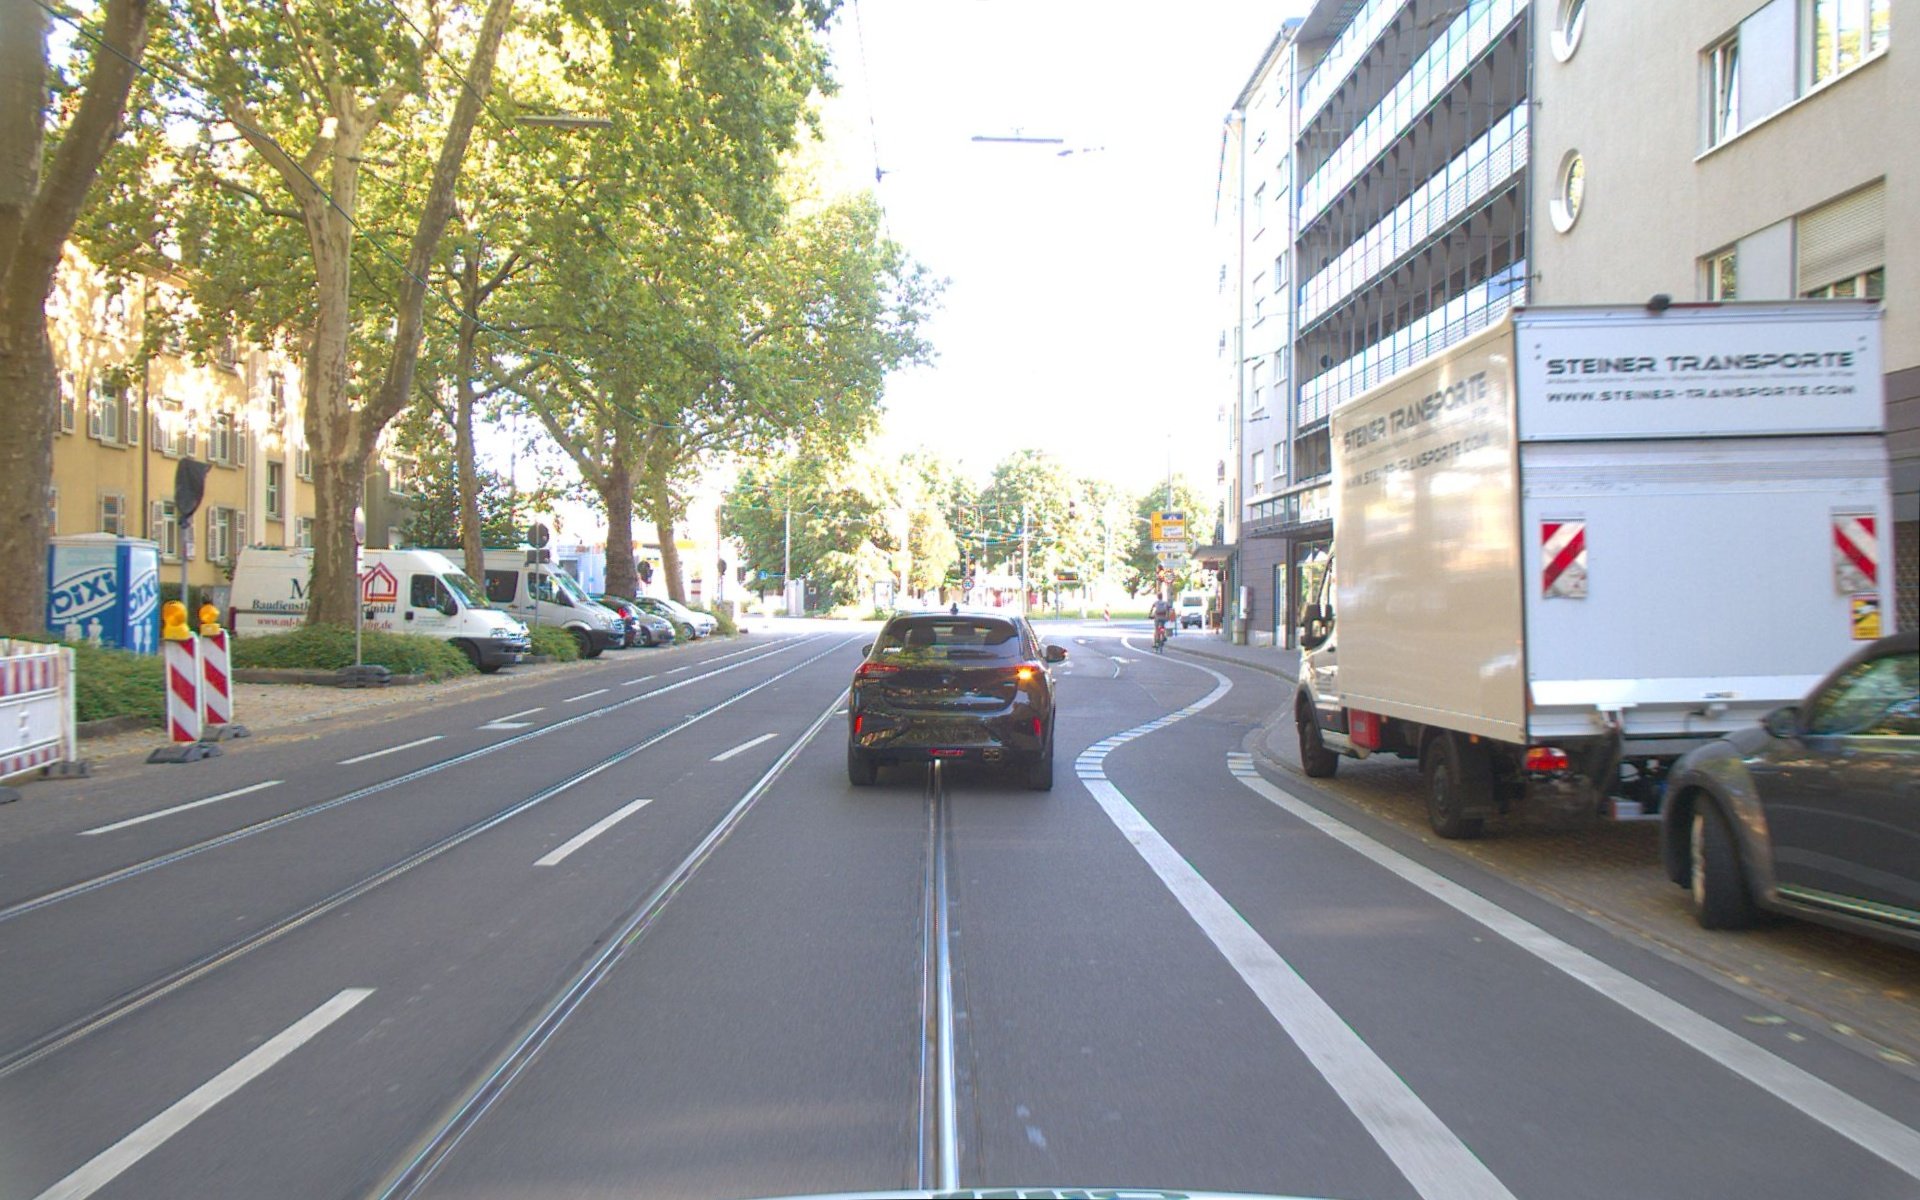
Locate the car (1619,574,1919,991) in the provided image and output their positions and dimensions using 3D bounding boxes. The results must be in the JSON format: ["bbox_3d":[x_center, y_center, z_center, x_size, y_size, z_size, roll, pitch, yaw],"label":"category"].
[{"bbox_3d":[4.491,0.678,6.627,1.697,1.584,4.147,-2,0,-5],"label":"car"}]

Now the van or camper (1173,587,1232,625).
[{"bbox_3d":[14.904,0.392,101.517,2.127,2.183,4.498,1,0,29],"label":"van or camper"}]

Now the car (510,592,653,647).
[{"bbox_3d":[-11.432,0.588,50.145,3.905,1.541,1.650,2,0,0],"label":"car"}]

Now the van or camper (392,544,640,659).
[{"bbox_3d":[-11.217,0.035,42.122,5.607,2.690,2.269,2,0,-1],"label":"van or camper"}]

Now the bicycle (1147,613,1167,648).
[{"bbox_3d":[6.277,0.957,52.611,0.497,1.086,1.566,0,0,11],"label":"bicycle"}]

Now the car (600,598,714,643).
[{"bbox_3d":[-11.279,0.752,61.720,3.905,1.541,1.650,2,0,0],"label":"car"}]

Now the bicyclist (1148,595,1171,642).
[{"bbox_3d":[6.360,0.585,52.666,0.691,1.461,0.703,0,0,11],"label":"bicyclist"}]

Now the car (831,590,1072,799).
[{"bbox_3d":[0.067,0.696,14.385,1.744,1.522,4.002,1,0,4],"label":"car"}]

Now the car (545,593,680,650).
[{"bbox_3d":[-11.007,0.674,52.533,3.905,1.680,1.650,2,0,0],"label":"car"}]

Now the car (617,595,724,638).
[{"bbox_3d":[-11.703,0.675,67.115,4.086,1.700,1.963,0,0,-4],"label":"car"}]

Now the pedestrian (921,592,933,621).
[{"bbox_3d":[-2.227,0.442,111.540,0.604,1.886,0.583,1,-1,27],"label":"pedestrian"}]

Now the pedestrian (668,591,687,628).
[{"bbox_3d":[-17.657,0.572,103.288,0.812,2.259,0.888,2,-1,-35],"label":"pedestrian"}]

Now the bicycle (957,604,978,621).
[{"bbox_3d":[0.469,0.799,102.417,0.771,1.009,2.245,1,0,15],"label":"bicycle"}]

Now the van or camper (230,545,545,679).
[{"bbox_3d":[-11.293,0.236,32.888,5.387,2.421,2.270,2,0,3],"label":"van or camper"}]

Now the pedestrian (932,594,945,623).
[{"bbox_3d":[-1.454,0.593,111.624,0.644,1.966,0.609,1,-1,23],"label":"pedestrian"}]

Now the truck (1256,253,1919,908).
[{"bbox_3d":[4.182,-0.115,12.388,2.486,3.396,7.194,-2,0,0],"label":"truck"}]

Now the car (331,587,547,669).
[{"bbox_3d":[-11.202,0.587,35.800,4.086,1.700,1.963,0,0,-4],"label":"car"}]

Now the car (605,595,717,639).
[{"bbox_3d":[-11.645,0.652,64.637,4.086,1.700,1.963,0,0,-4],"label":"car"}]
